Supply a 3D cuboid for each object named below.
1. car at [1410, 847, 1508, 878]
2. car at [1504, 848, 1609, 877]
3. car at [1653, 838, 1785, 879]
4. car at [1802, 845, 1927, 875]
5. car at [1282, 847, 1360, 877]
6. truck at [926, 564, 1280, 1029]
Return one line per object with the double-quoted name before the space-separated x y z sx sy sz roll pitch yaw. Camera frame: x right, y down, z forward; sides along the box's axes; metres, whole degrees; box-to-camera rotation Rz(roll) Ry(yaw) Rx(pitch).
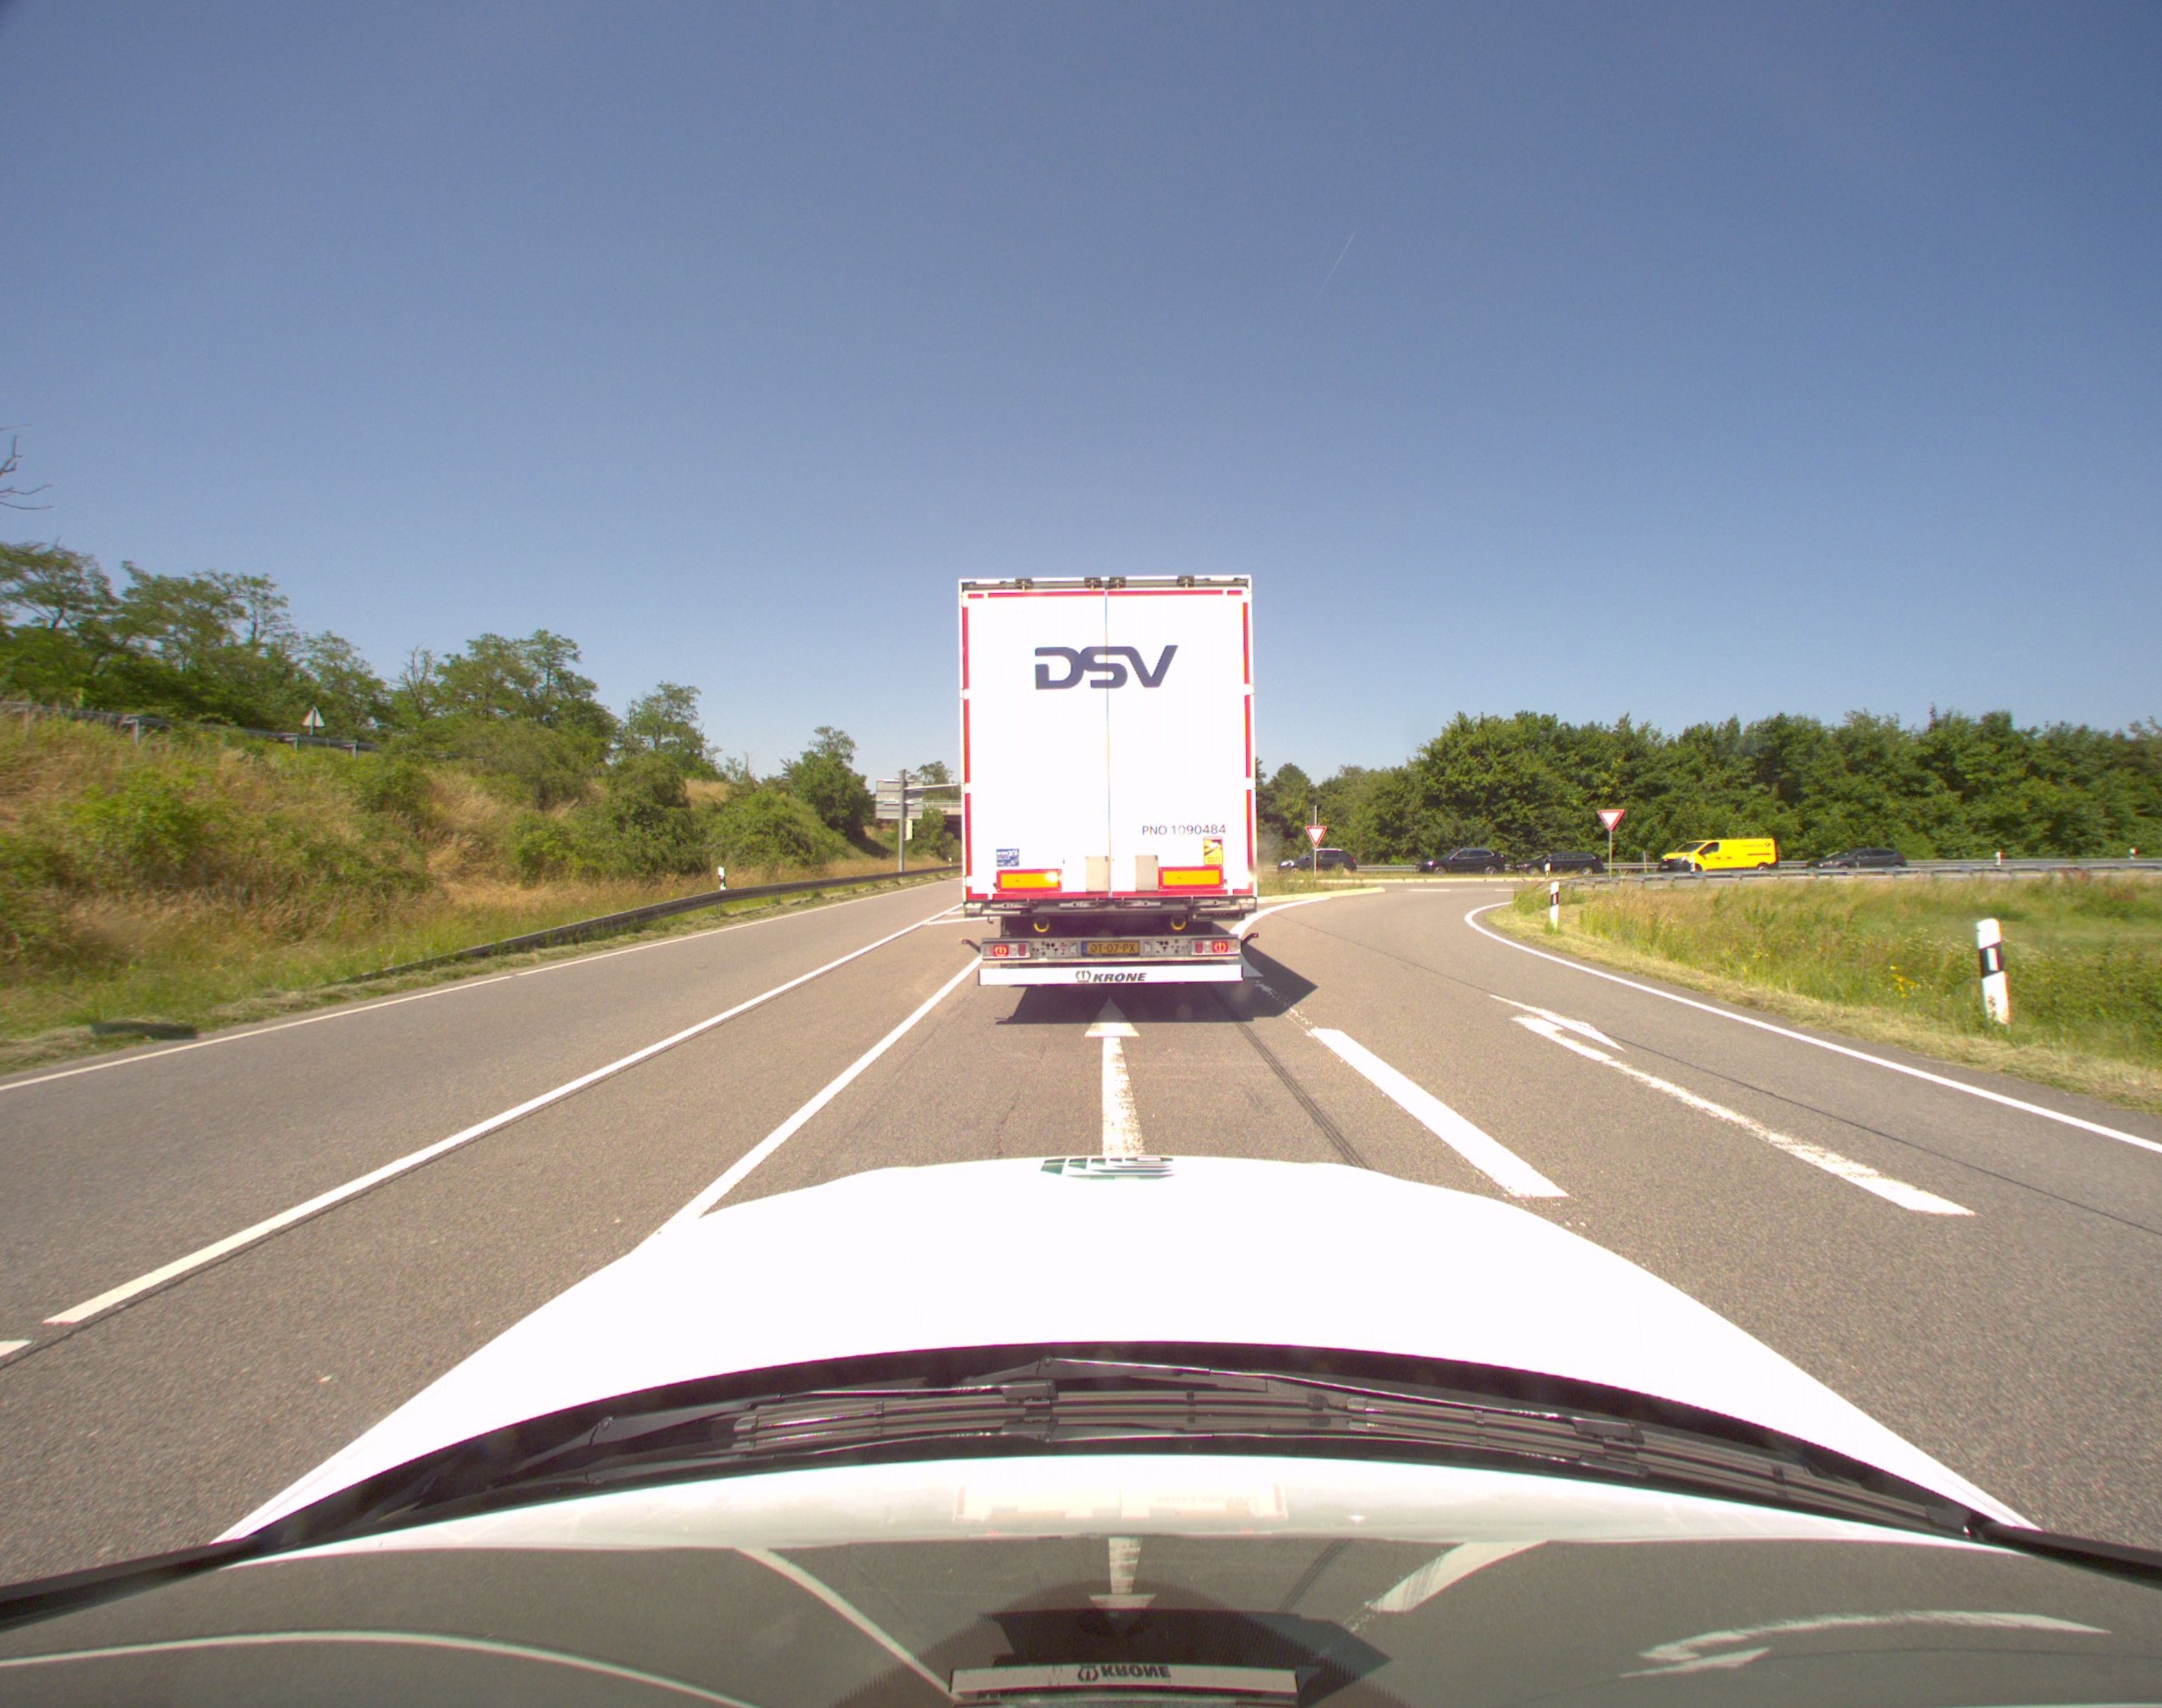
"car" 20.265 0.472 43.779 4.466 1.598 1.769 -1 -1 4
"car" 26.193 0.494 44.967 4.655 1.514 1.858 -1 -1 8
"car" 33.633 0.240 43.038 5.300 2.014 2.001 -1 -1 3
"car" 41.188 0.331 42.885 4.662 1.514 1.855 -1 -1 3
"car" 13.483 0.459 45.987 3.964 1.640 1.845 -1 -1 7
"truck" 0.295 -0.475 11.906 2.977 3.942 9.877 -1 0 1
